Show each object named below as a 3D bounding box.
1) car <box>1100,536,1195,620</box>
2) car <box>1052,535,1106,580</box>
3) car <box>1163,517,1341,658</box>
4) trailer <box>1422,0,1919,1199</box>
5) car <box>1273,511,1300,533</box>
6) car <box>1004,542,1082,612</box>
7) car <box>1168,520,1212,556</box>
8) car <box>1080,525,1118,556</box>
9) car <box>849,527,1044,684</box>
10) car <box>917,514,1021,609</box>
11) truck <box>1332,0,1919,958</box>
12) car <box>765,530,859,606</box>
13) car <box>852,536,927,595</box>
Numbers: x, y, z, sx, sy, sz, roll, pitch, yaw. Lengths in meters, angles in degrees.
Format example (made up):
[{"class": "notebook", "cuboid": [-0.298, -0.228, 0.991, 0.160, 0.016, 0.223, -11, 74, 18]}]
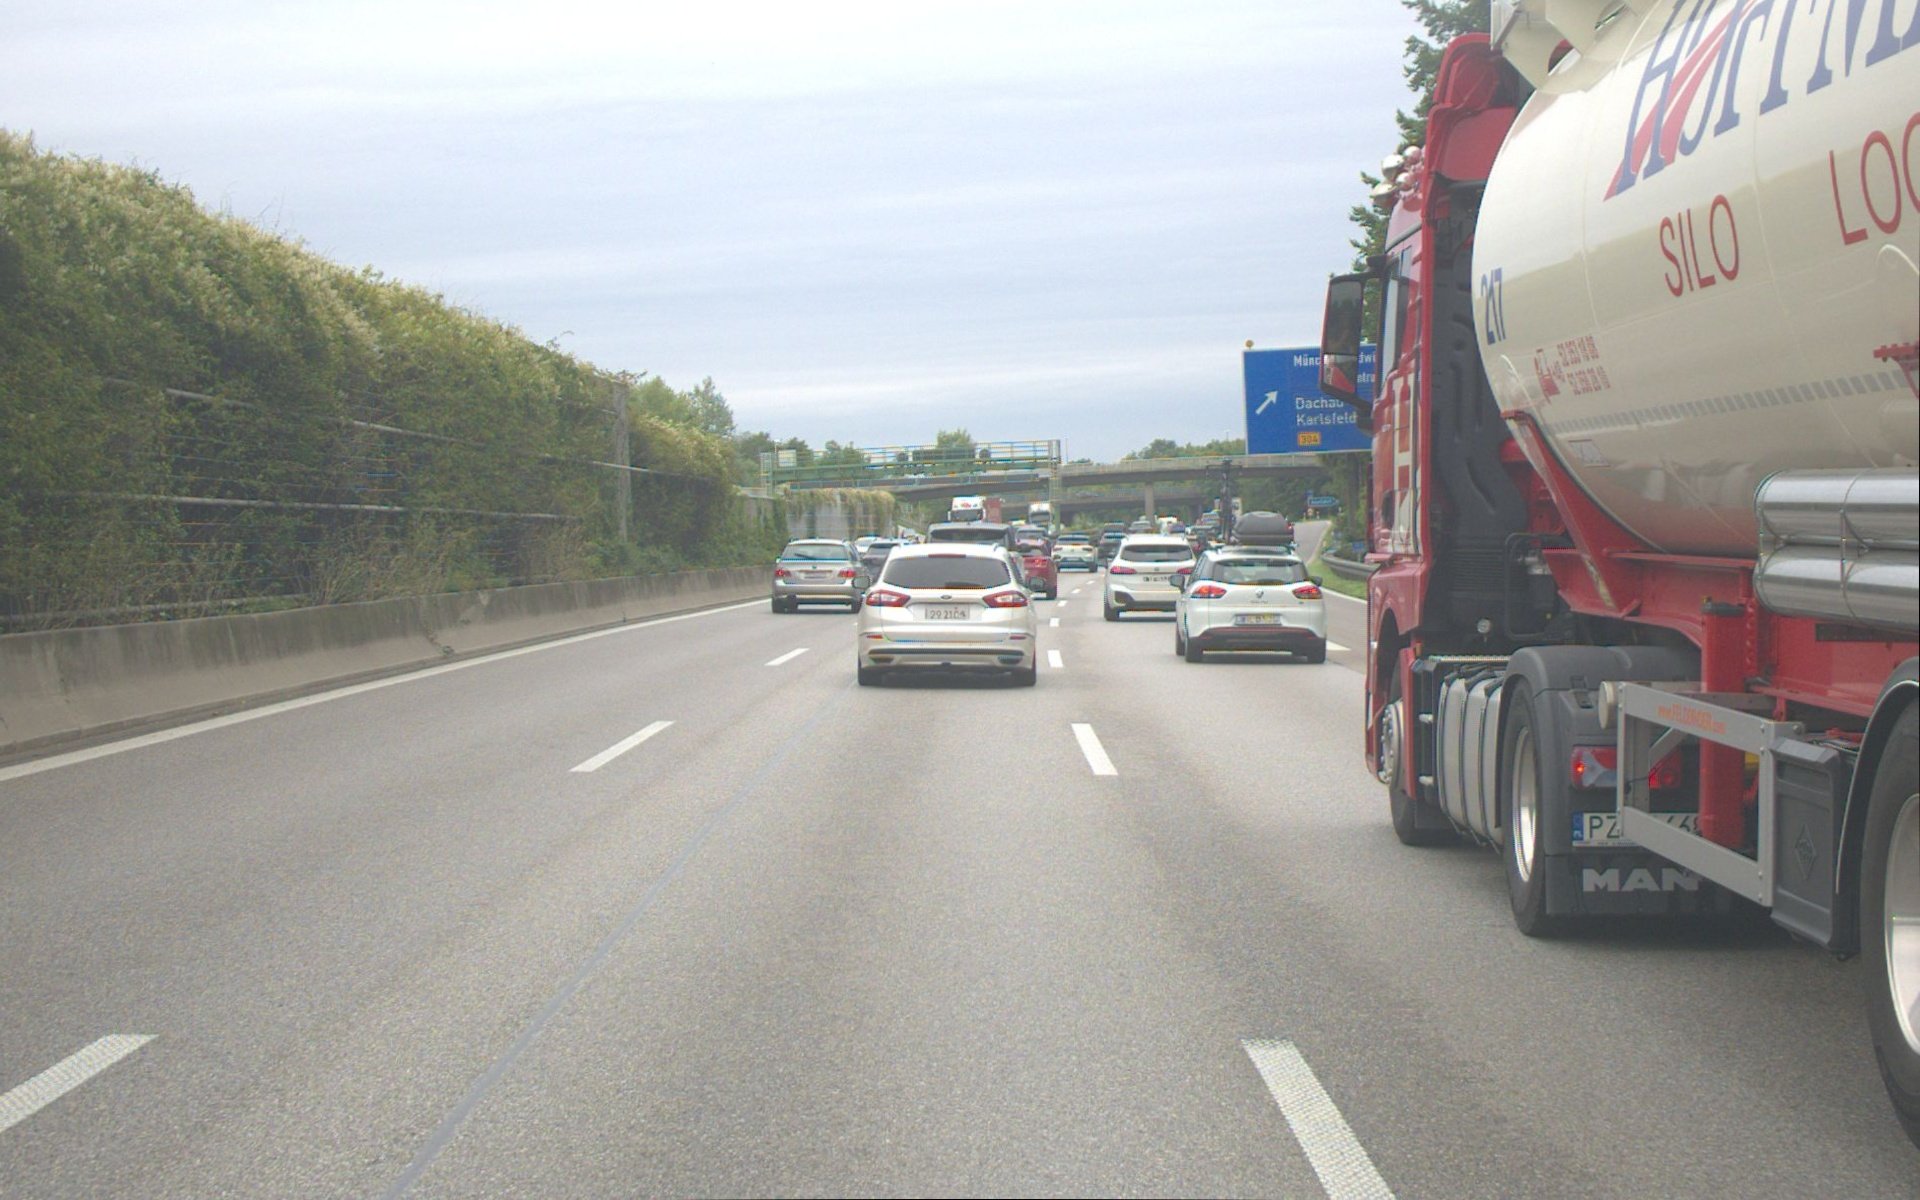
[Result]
[{"class": "car", "cuboid": [3.466, -0.414, 63.712, 1.689, 1.501, 3.871, 0, 1, 3]}, {"class": "car", "cuboid": [4.894, -1.727, 140.605, 1.790, 1.773, 3.870, -1, 1, 8]}, {"class": "car", "cuboid": [3.643, -0.194, 43.640, 1.816, 1.620, 5.030, 2, 1, 0]}, {"class": "trailer", "cuboid": [3.421, -0.665, 8.892, 2.668, 3.925, 13.131, 0, 1, 0]}, {"class": "car", "cuboid": [21.168, -5.064, 223.103, 1.689, 1.417, 3.871, 0, 1, 6]}, {"class": "car", "cuboid": [2.056, -0.580, 84.368, 1.689, 1.501, 3.871, 3, 2, 3]}, {"class": "car", "cuboid": [10.205, -2.749, 152.385, 1.689, 1.534, 3.870, 0, 1, 8]}, {"class": "car", "cuboid": [6.992, -3.001, 173.112, 1.689, 1.534, 3.872, -1, 1, 0]}, {"class": "car", "cuboid": [-0.207, 0.011, 36.606, 1.891, 1.499, 5.030, 2, 1, -2]}, {"class": "car", "cuboid": [0.133, -0.722, 61.654, 1.689, 1.501, 3.872, 3, 2, -1]}, {"class": "truck", "cuboid": [3.399, -0.743, 15.682, 2.695, 3.899, 6.557, 0, 1, 0]}, {"class": "car", "cuboid": [-2.967, -0.636, 69.676, 1.720, 1.464, 5.030, 0, 0, 0]}, {"class": "car", "cuboid": [-1.853, -0.949, 92.155, 1.720, 1.507, 5.030, -1, 1, 2]}]
